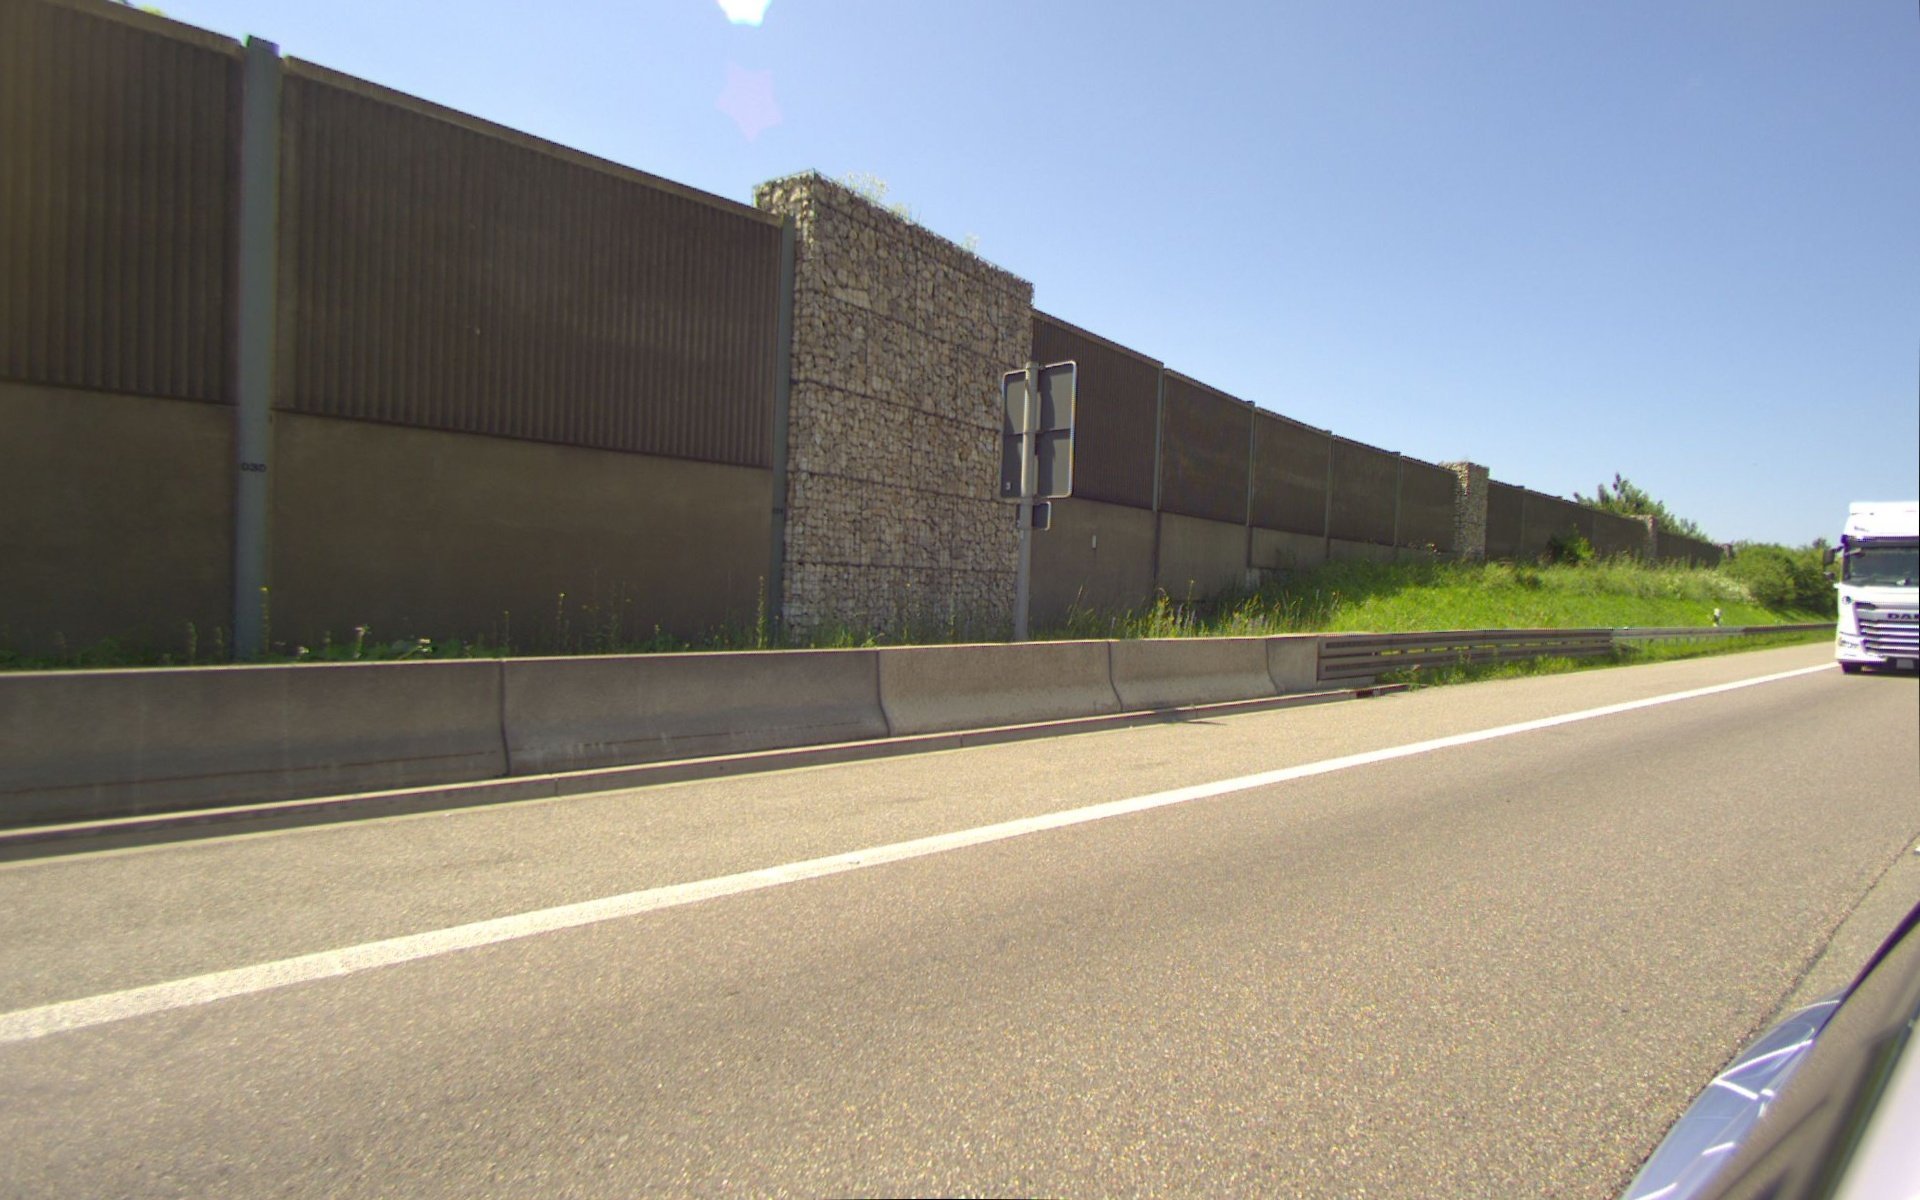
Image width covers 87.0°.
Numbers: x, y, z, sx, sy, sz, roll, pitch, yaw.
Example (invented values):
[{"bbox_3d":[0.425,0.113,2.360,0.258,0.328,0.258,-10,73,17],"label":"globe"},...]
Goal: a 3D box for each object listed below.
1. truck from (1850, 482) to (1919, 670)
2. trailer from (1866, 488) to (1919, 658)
[{"bbox_3d":[23.042,-0.506,23.810,6.272,4.027,2.481,0,1,-43],"label":"truck"},{"bbox_3d":[27.893,-0.614,28.315,13.423,4.027,2.481,0,1,-43],"label":"trailer"}]
